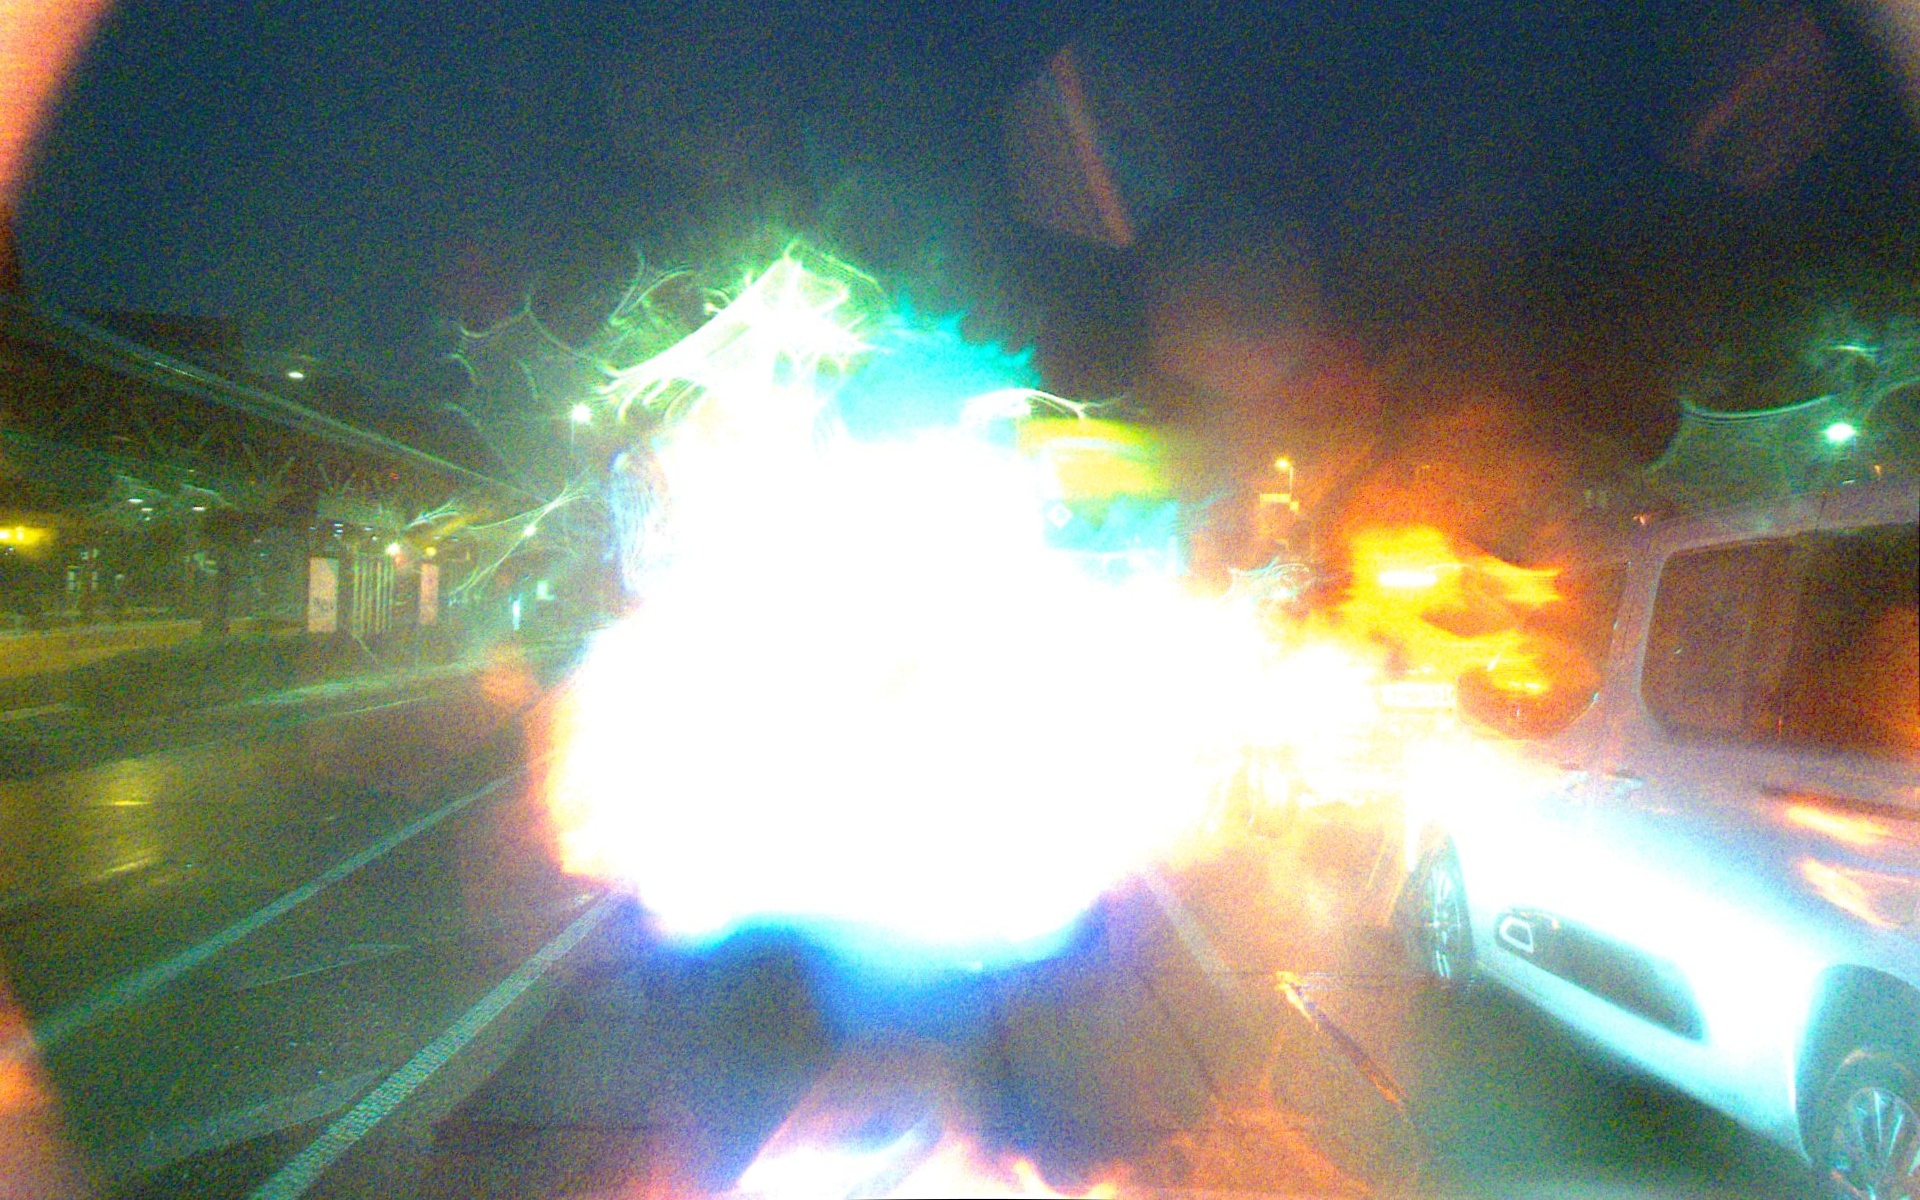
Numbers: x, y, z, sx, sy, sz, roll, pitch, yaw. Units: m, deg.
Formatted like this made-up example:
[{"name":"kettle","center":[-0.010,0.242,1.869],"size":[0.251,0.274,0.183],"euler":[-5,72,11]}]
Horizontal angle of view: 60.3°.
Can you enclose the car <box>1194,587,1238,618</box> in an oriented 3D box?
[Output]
[{"name":"car","center":[14.607,0.128,94.434],"size":[1.827,1.675,3.962],"euler":[-2,0,0]}]

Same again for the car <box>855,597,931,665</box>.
[{"name":"car","center":[-1.994,0.875,48.067],"size":[1.955,1.856,3.995],"euler":[1,0,-6]}]

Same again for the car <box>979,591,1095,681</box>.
[{"name":"car","center":[1.610,0.739,35.793],"size":[1.955,1.804,3.995],"euler":[1,0,-5]}]

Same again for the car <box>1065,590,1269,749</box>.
[{"name":"car","center":[2.445,0.786,20.503],"size":[1.953,1.748,3.999],"euler":[1,0,-1]}]

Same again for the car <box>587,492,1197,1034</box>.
[{"name":"car","center":[-0.274,0.551,7.658],"size":[1.974,1.747,4.450],"euler":[1,0,-2]}]

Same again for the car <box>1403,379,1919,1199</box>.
[{"name":"car","center":[2.764,0.537,4.621],"size":[1.814,1.897,4.339],"euler":[1,0,-1]}]

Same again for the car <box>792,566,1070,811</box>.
[{"name":"car","center":[-0.235,0.643,13.821],"size":[1.953,1.713,3.999],"euler":[1,0,-1]}]

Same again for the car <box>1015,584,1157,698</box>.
[{"name":"car","center":[1.989,0.628,27.173],"size":[1.953,1.699,3.999],"euler":[1,0,-1]}]

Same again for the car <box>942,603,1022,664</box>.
[{"name":"car","center":[0.563,0.897,45.491],"size":[1.821,1.571,3.926],"euler":[1,0,-5]}]

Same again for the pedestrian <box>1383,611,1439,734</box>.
[{"name":"pedestrian","center":[6.448,1.031,23.637],"size":[0.610,1.731,0.540],"euler":[1,-1,-3]}]

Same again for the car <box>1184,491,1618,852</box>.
[{"name":"car","center":[2.867,0.431,11.715],"size":[1.929,2.082,3.999],"euler":[1,0,-1]}]
